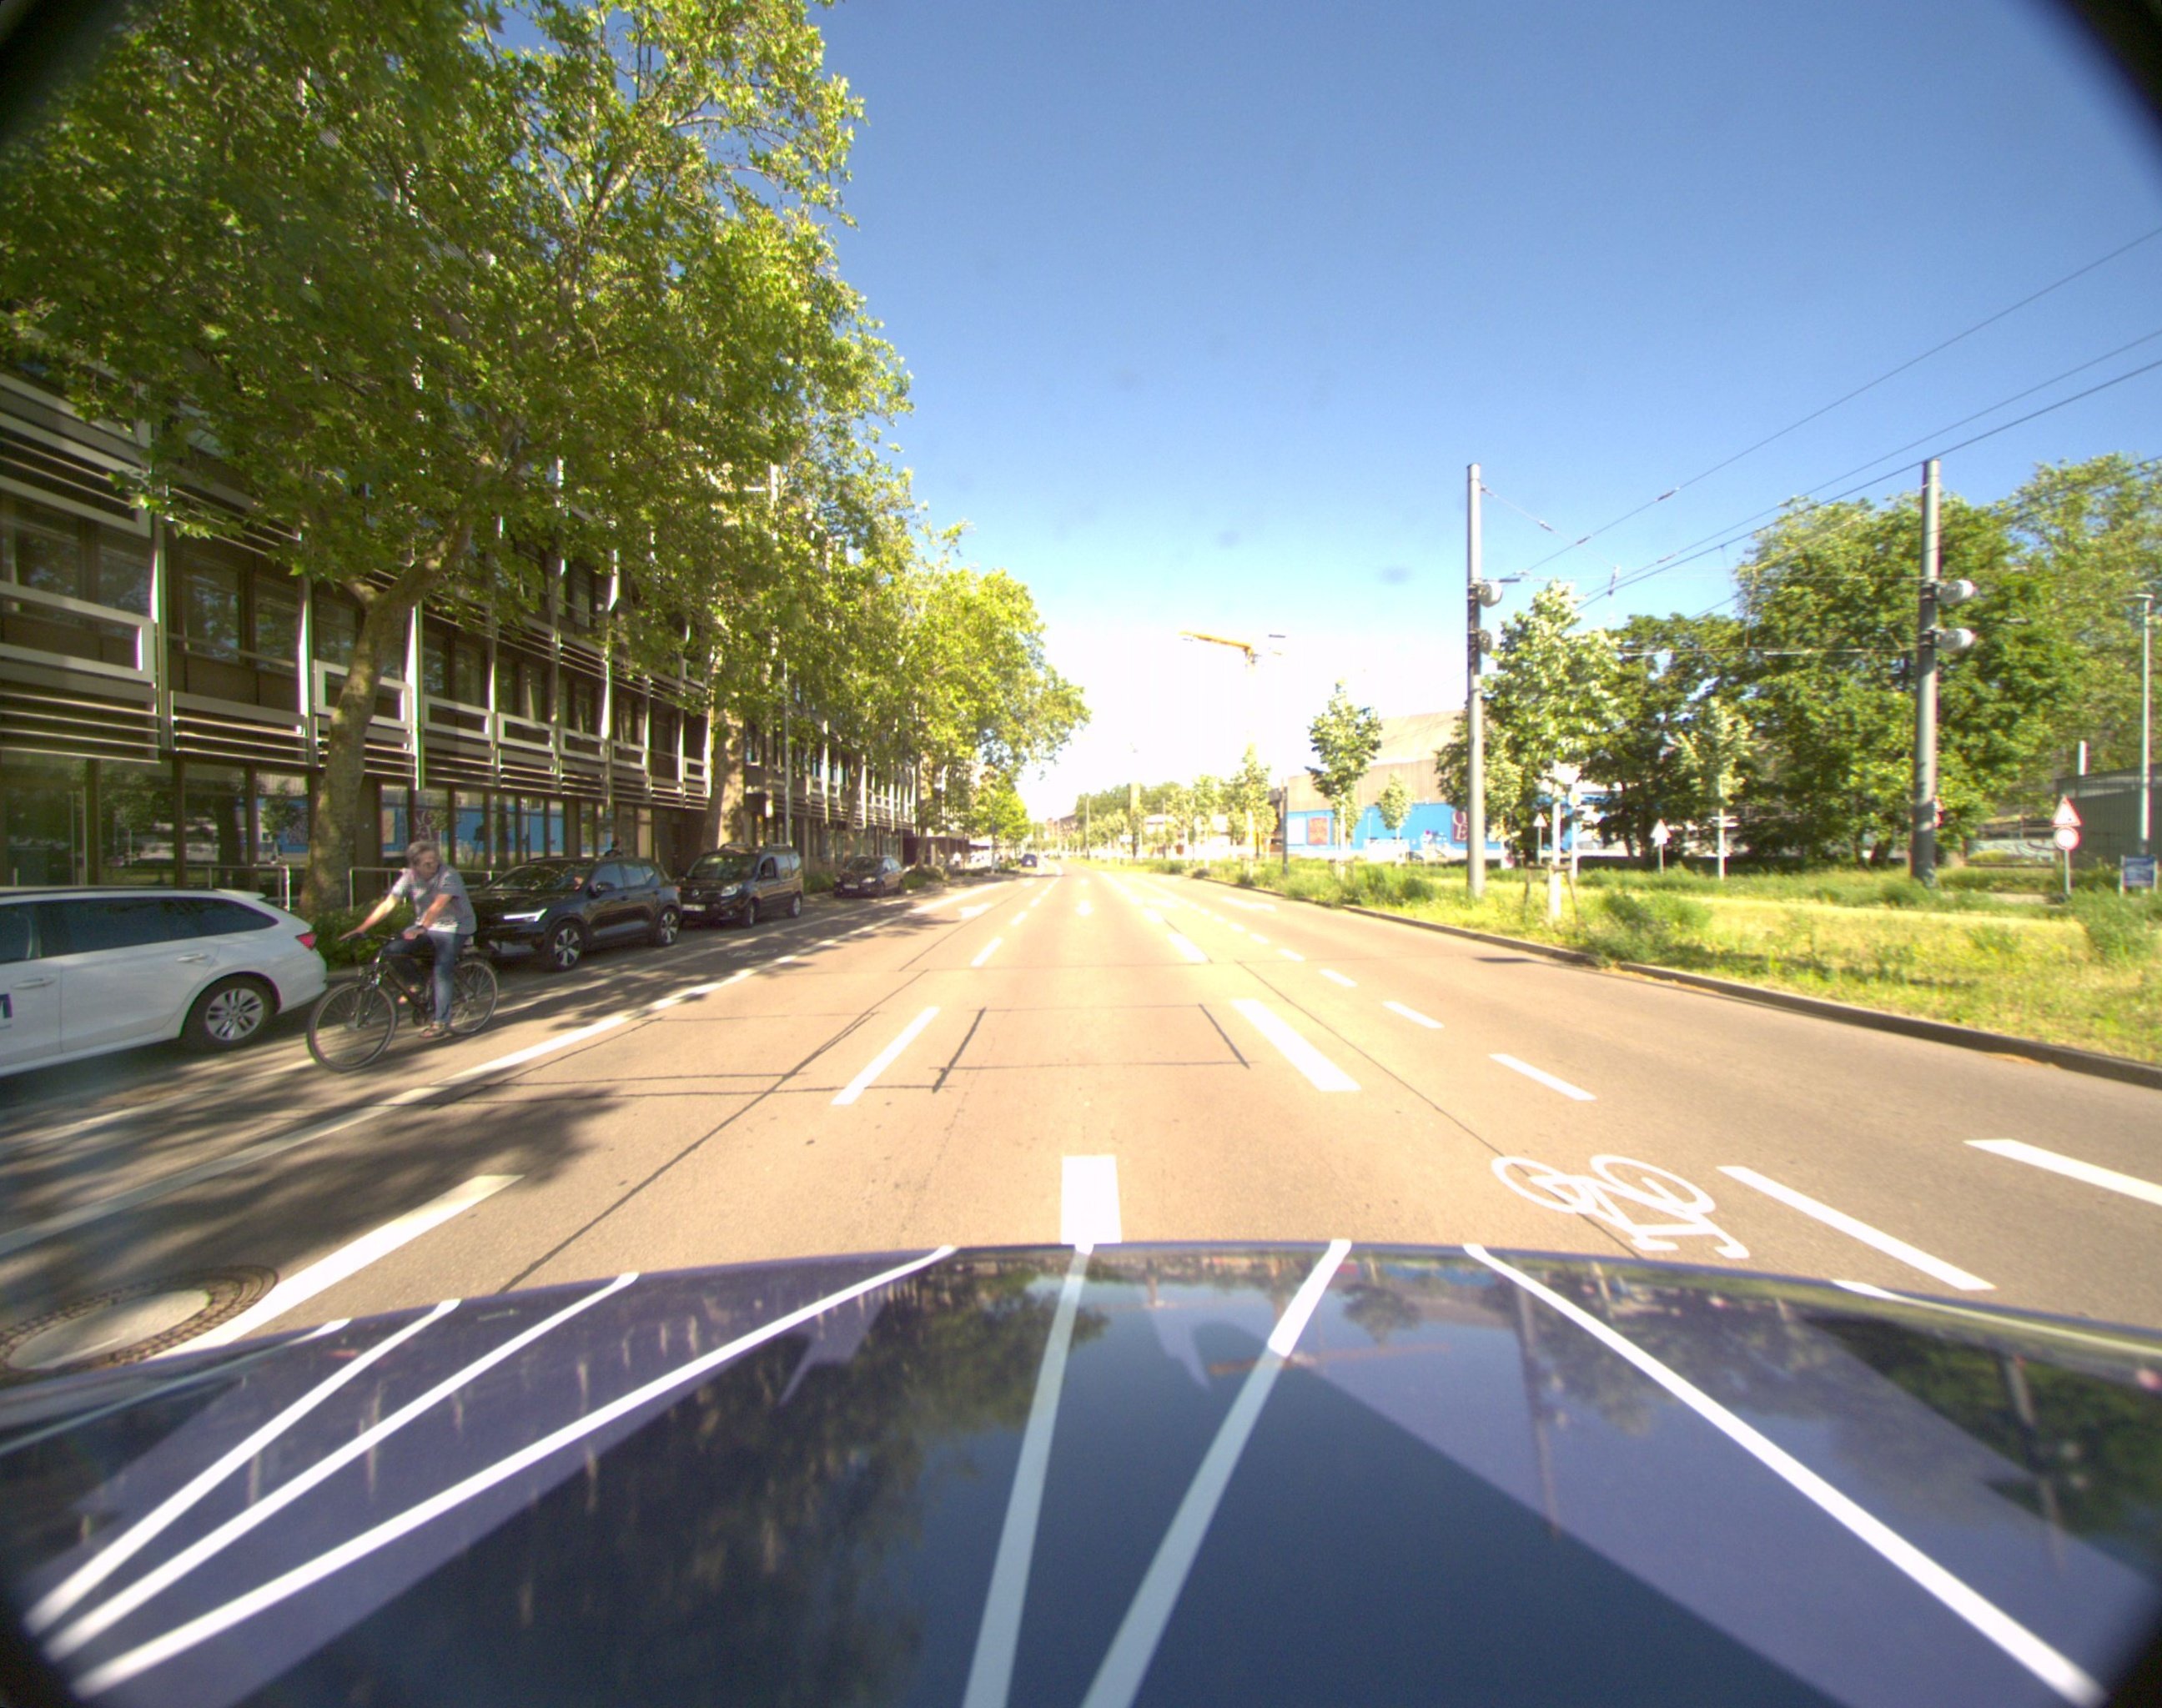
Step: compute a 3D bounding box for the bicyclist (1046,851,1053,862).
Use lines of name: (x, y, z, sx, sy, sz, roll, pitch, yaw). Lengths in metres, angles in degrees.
bicyclist: (-4.131, 0.285, 98.801, 0.830, 1.380, 0.903, -1, 1, 1)

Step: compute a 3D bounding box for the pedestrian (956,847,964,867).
pedestrian: (-11.437, 0.294, 71.973, 0.591, 1.830, 0.697, -1, 1, 0)

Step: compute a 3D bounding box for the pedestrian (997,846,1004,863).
pedestrian: (-8.581, 0.076, 81.167, 0.591, 1.830, 0.569, -1, 1, 0)

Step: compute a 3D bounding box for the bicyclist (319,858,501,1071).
bicyclist: (-5.717, 0.889, 6.532, 0.711, 1.678, 0.852, -3, 1, -1)

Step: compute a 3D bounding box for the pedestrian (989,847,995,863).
pedestrian: (-10.218, 0.076, 86.918, 0.591, 1.830, 0.569, -1, 1, 0)

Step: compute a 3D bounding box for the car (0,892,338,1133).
car: (-8.194, 1.136, 5.192, 1.752, 1.481, 4.559, 1, 0, 0)

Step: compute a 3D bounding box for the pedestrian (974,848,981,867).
pedestrian: (-10.058, 0.318, 73.799, 0.591, 1.830, 0.696, -1, 1, 0)

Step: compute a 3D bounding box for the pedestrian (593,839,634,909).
pedestrian: (-13.572, 0.564, 22.073, 0.741, 2.002, 0.626, -1, 1, 0)

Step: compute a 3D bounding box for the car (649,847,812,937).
car: (-7.900, 0.763, 17.636, 1.752, 1.811, 4.337, 1, 0, 0)

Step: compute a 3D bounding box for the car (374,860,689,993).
car: (-8.139, 0.941, 11.871, 1.752, 1.624, 4.337, 1, 0, 0)

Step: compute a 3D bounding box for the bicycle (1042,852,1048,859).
bicycle: (-5.934, 0.284, 123.838, 0.845, 1.123, 2.552, -1, 0, -5)

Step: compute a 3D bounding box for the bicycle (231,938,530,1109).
bicycle: (-5.706, 1.320, 6.397, 0.711, 0.987, 1.923, -3, 0, -1)

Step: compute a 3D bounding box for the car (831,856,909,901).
car: (-7.950, 0.875, 29.045, 1.752, 1.545, 4.337, 1, 0, 0)

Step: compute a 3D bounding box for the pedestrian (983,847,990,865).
pedestrian: (-9.856, 0.203, 79.115, 0.591, 1.830, 0.569, -1, 1, 0)

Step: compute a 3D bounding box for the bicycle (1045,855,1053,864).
bicycle: (-4.136, 0.657, 98.803, 0.845, 1.123, 2.553, -1, 0, 1)

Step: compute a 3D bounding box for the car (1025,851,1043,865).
car: (-5.720, 0.435, 92.065, 1.999, 1.598, 3.895, -1, 0, -1)

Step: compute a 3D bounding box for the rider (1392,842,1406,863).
rider: (23.501, -0.120, 56.176, 0.724, 1.513, 0.631, -1, 1, -2)
